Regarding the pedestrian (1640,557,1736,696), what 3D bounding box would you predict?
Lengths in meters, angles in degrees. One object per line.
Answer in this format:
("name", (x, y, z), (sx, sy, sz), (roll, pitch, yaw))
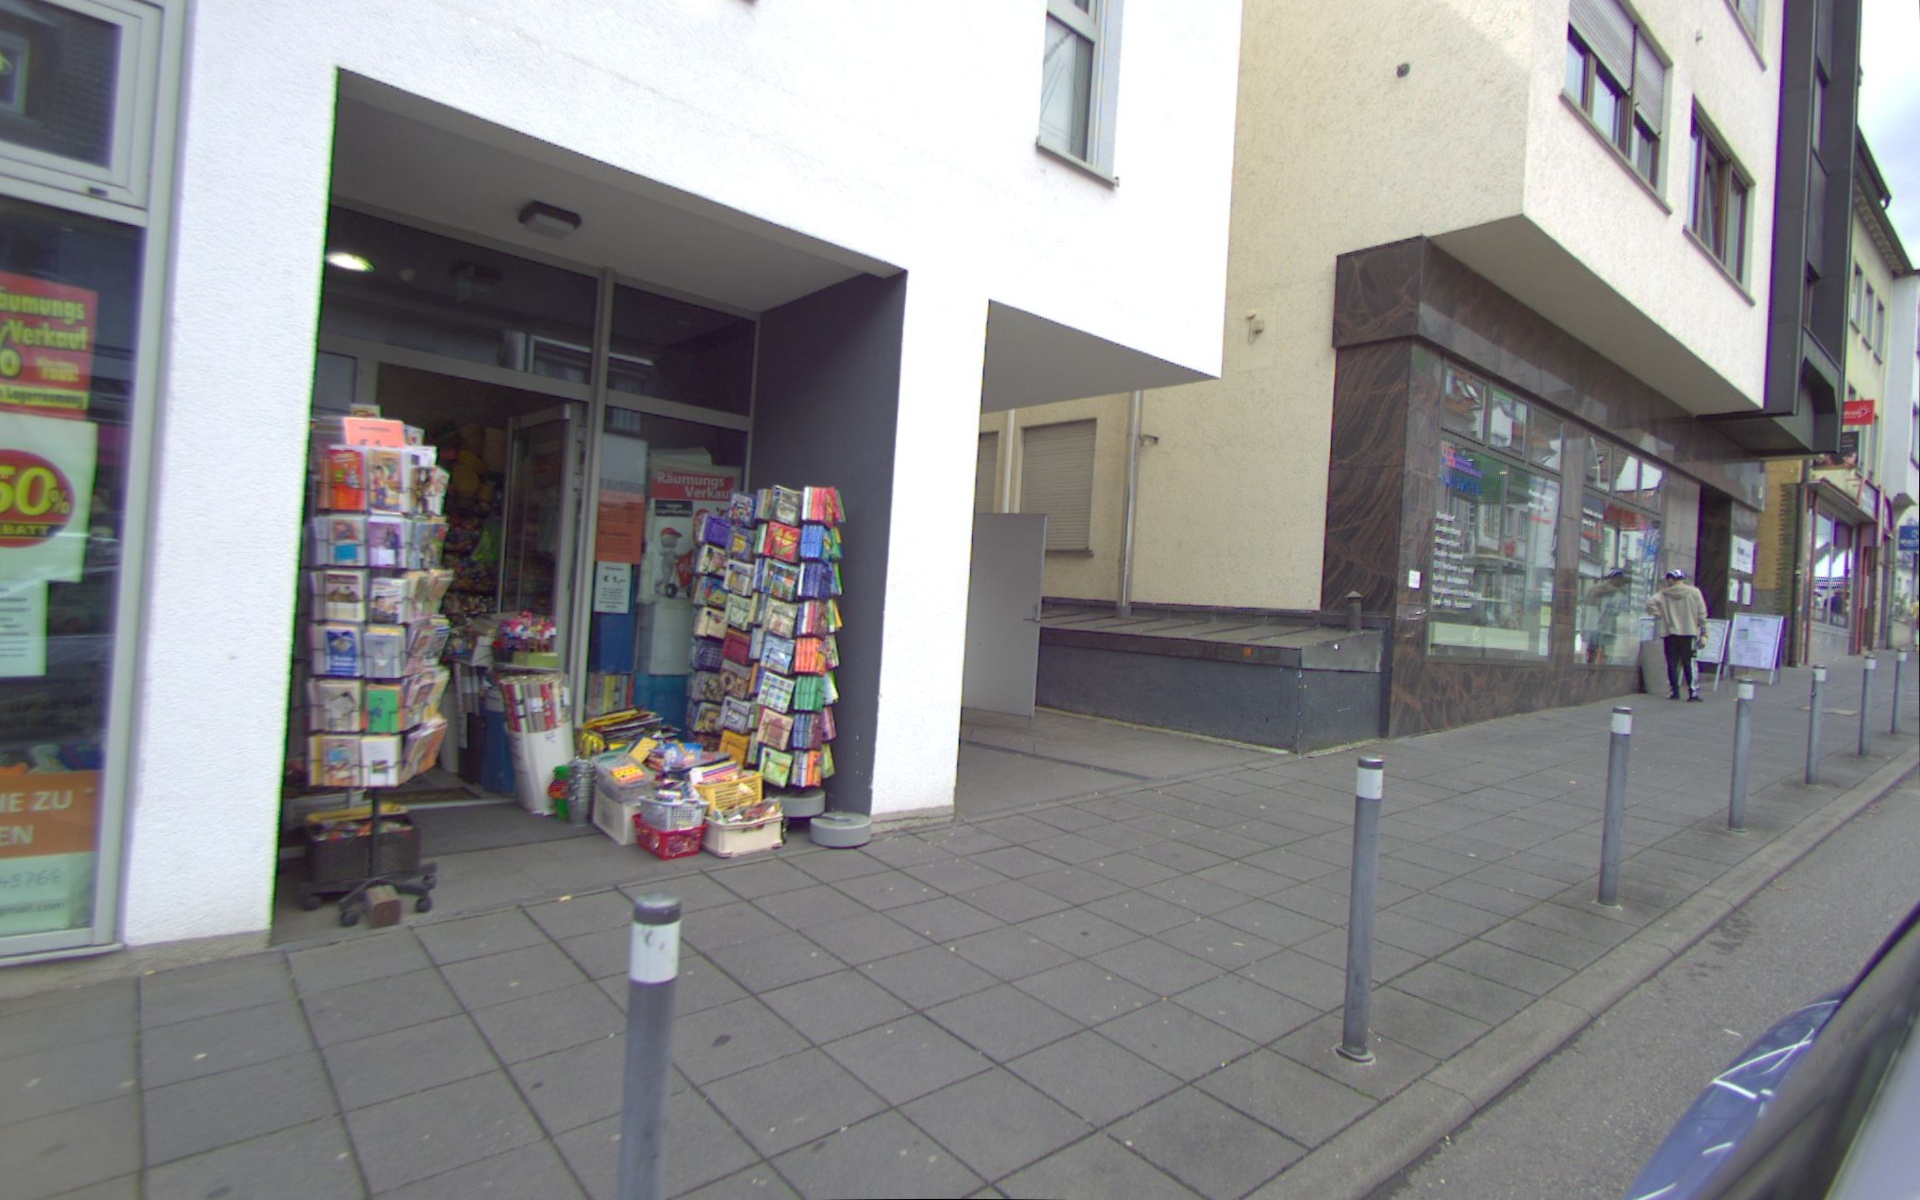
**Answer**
("pedestrian", (9.416, 0.320, 13.100), (0.767, 1.693, 0.759), (1, 4, -43))
